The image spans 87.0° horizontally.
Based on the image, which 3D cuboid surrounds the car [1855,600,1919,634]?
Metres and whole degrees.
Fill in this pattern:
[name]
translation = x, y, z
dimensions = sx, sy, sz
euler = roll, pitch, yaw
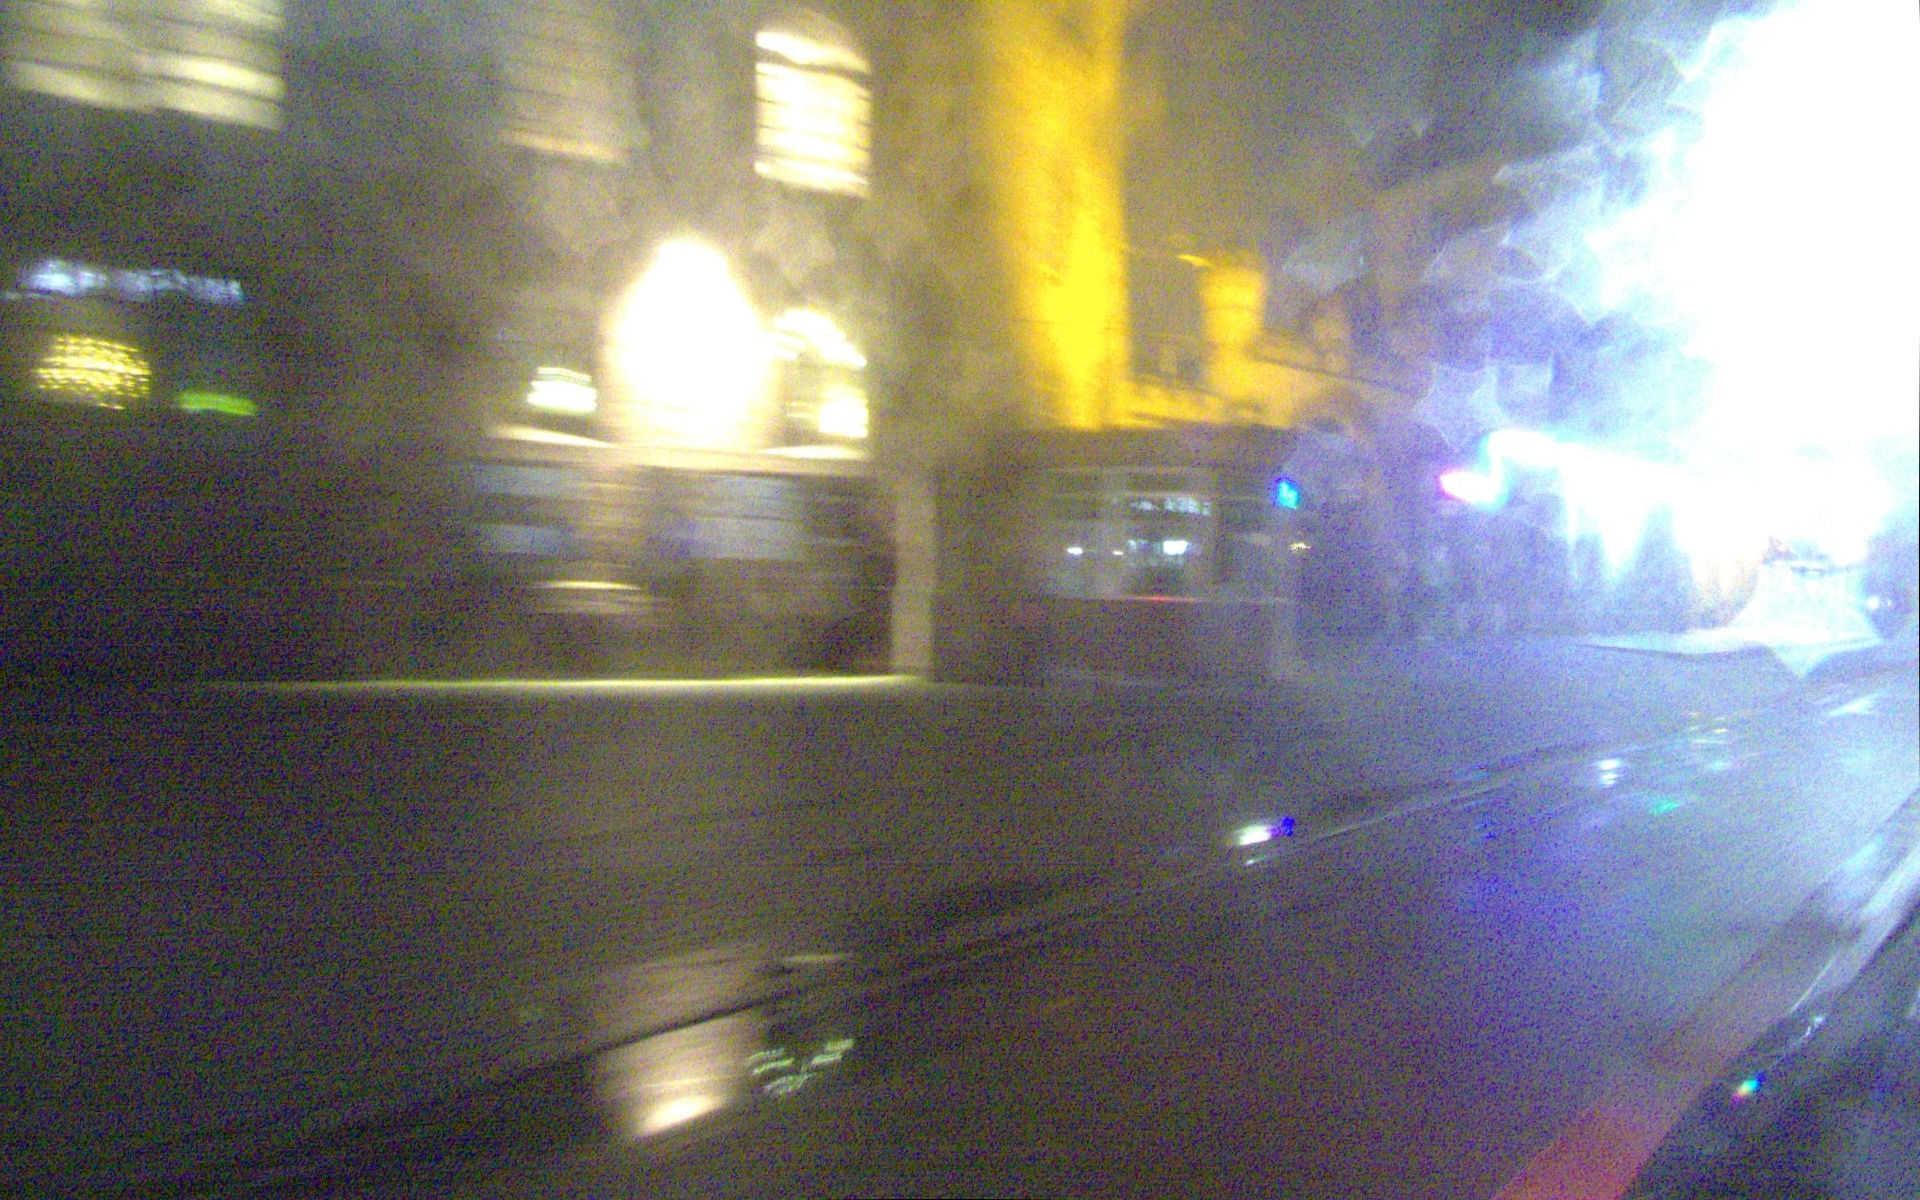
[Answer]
[car]
translation = 47.021, 0.829, 49.773
dimensions = 4.062, 1.556, 1.944
euler = 0, 1, 25
